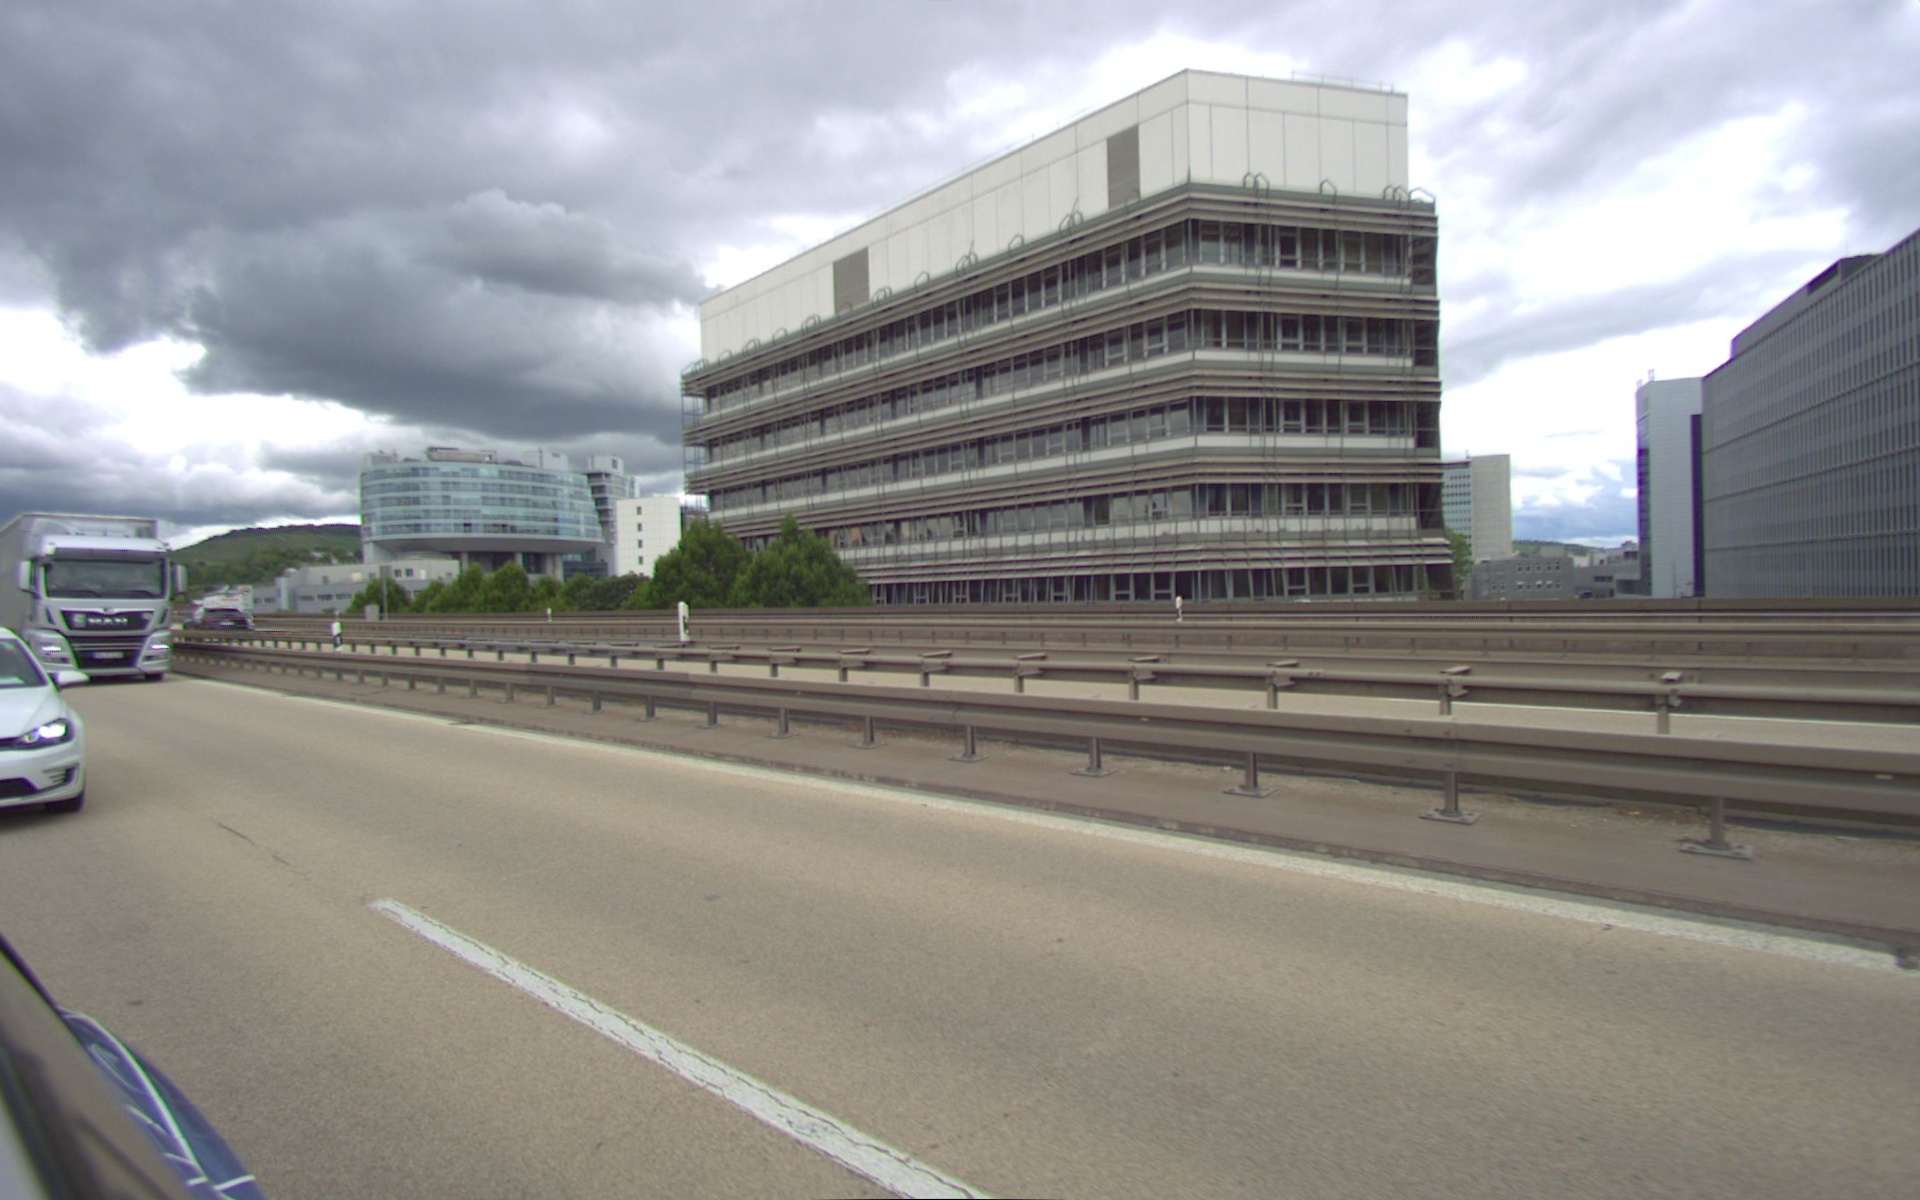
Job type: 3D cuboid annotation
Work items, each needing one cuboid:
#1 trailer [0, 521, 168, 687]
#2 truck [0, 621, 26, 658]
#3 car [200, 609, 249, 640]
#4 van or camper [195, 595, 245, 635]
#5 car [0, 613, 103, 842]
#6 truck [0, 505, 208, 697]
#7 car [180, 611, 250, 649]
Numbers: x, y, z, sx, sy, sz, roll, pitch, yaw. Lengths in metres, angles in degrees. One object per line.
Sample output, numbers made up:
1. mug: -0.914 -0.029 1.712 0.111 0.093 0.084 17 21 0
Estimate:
1. trailer: -26.612 0.098 29.805 11.763 4.056 3.148 -1 1 42
2. truck: -42.425 1.727 44.521 3.515 1.541 1.804 -1 0 44
3. car: -44.376 1.437 61.029 4.451 1.662 1.664 2 3 45
4. van or camper: -59.165 1.195 80.881 7.121 3.031 2.146 -1 -1 45
5. car: -8.205 0.885 7.926 4.063 1.519 1.904 -1 0 44
6. truck: -20.834 -0.012 24.469 5.687 4.067 3.101 -1 1 42
7. car: -35.622 1.382 48.338 4.332 1.662 1.744 0 2 41
